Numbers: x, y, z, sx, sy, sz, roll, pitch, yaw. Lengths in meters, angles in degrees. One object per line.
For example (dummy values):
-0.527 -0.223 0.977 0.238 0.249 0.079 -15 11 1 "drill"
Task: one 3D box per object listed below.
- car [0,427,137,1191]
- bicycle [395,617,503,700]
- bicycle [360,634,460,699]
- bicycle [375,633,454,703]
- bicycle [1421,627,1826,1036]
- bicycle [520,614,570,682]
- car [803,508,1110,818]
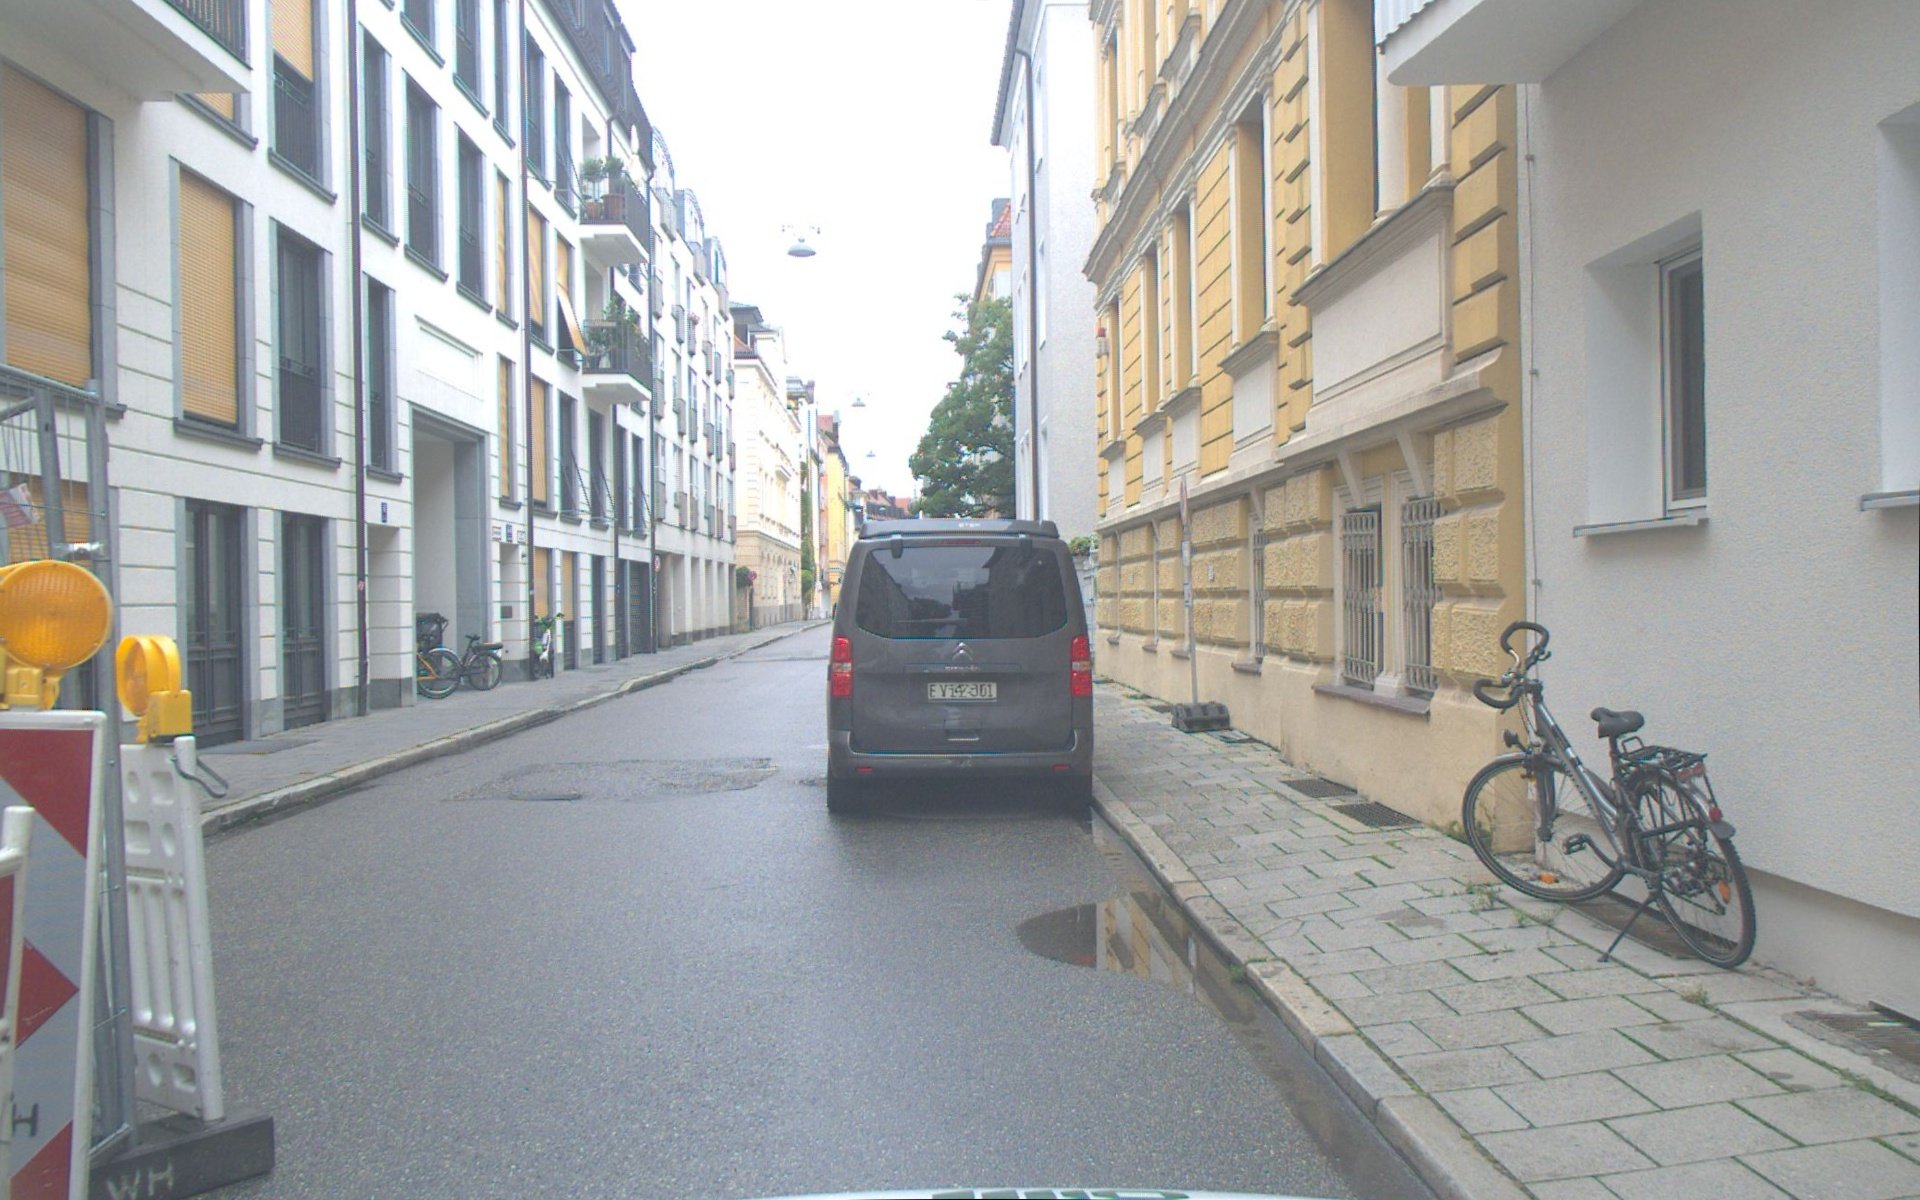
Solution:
-3.207 0.532 2.385 1.867 1.930 5.083 -1 0 -5 "car"
-7.984 0.894 25.920 0.373 1.214 1.676 1 1 41 "bicycle"
-8.218 0.981 24.729 1.376 0.904 0.375 -1 1 -36 "bicycle"
-7.946 0.979 24.090 1.055 0.964 0.304 -1 1 -36 "bicycle"
2.334 0.735 6.107 0.625 1.173 1.915 -4 1 -1 "bicycle"
-7.449 0.844 29.768 0.333 1.166 2.191 -2 -1 -1 "bicycle"
-0.123 0.398 12.879 1.954 1.966 4.657 0 0 -3 "car"
